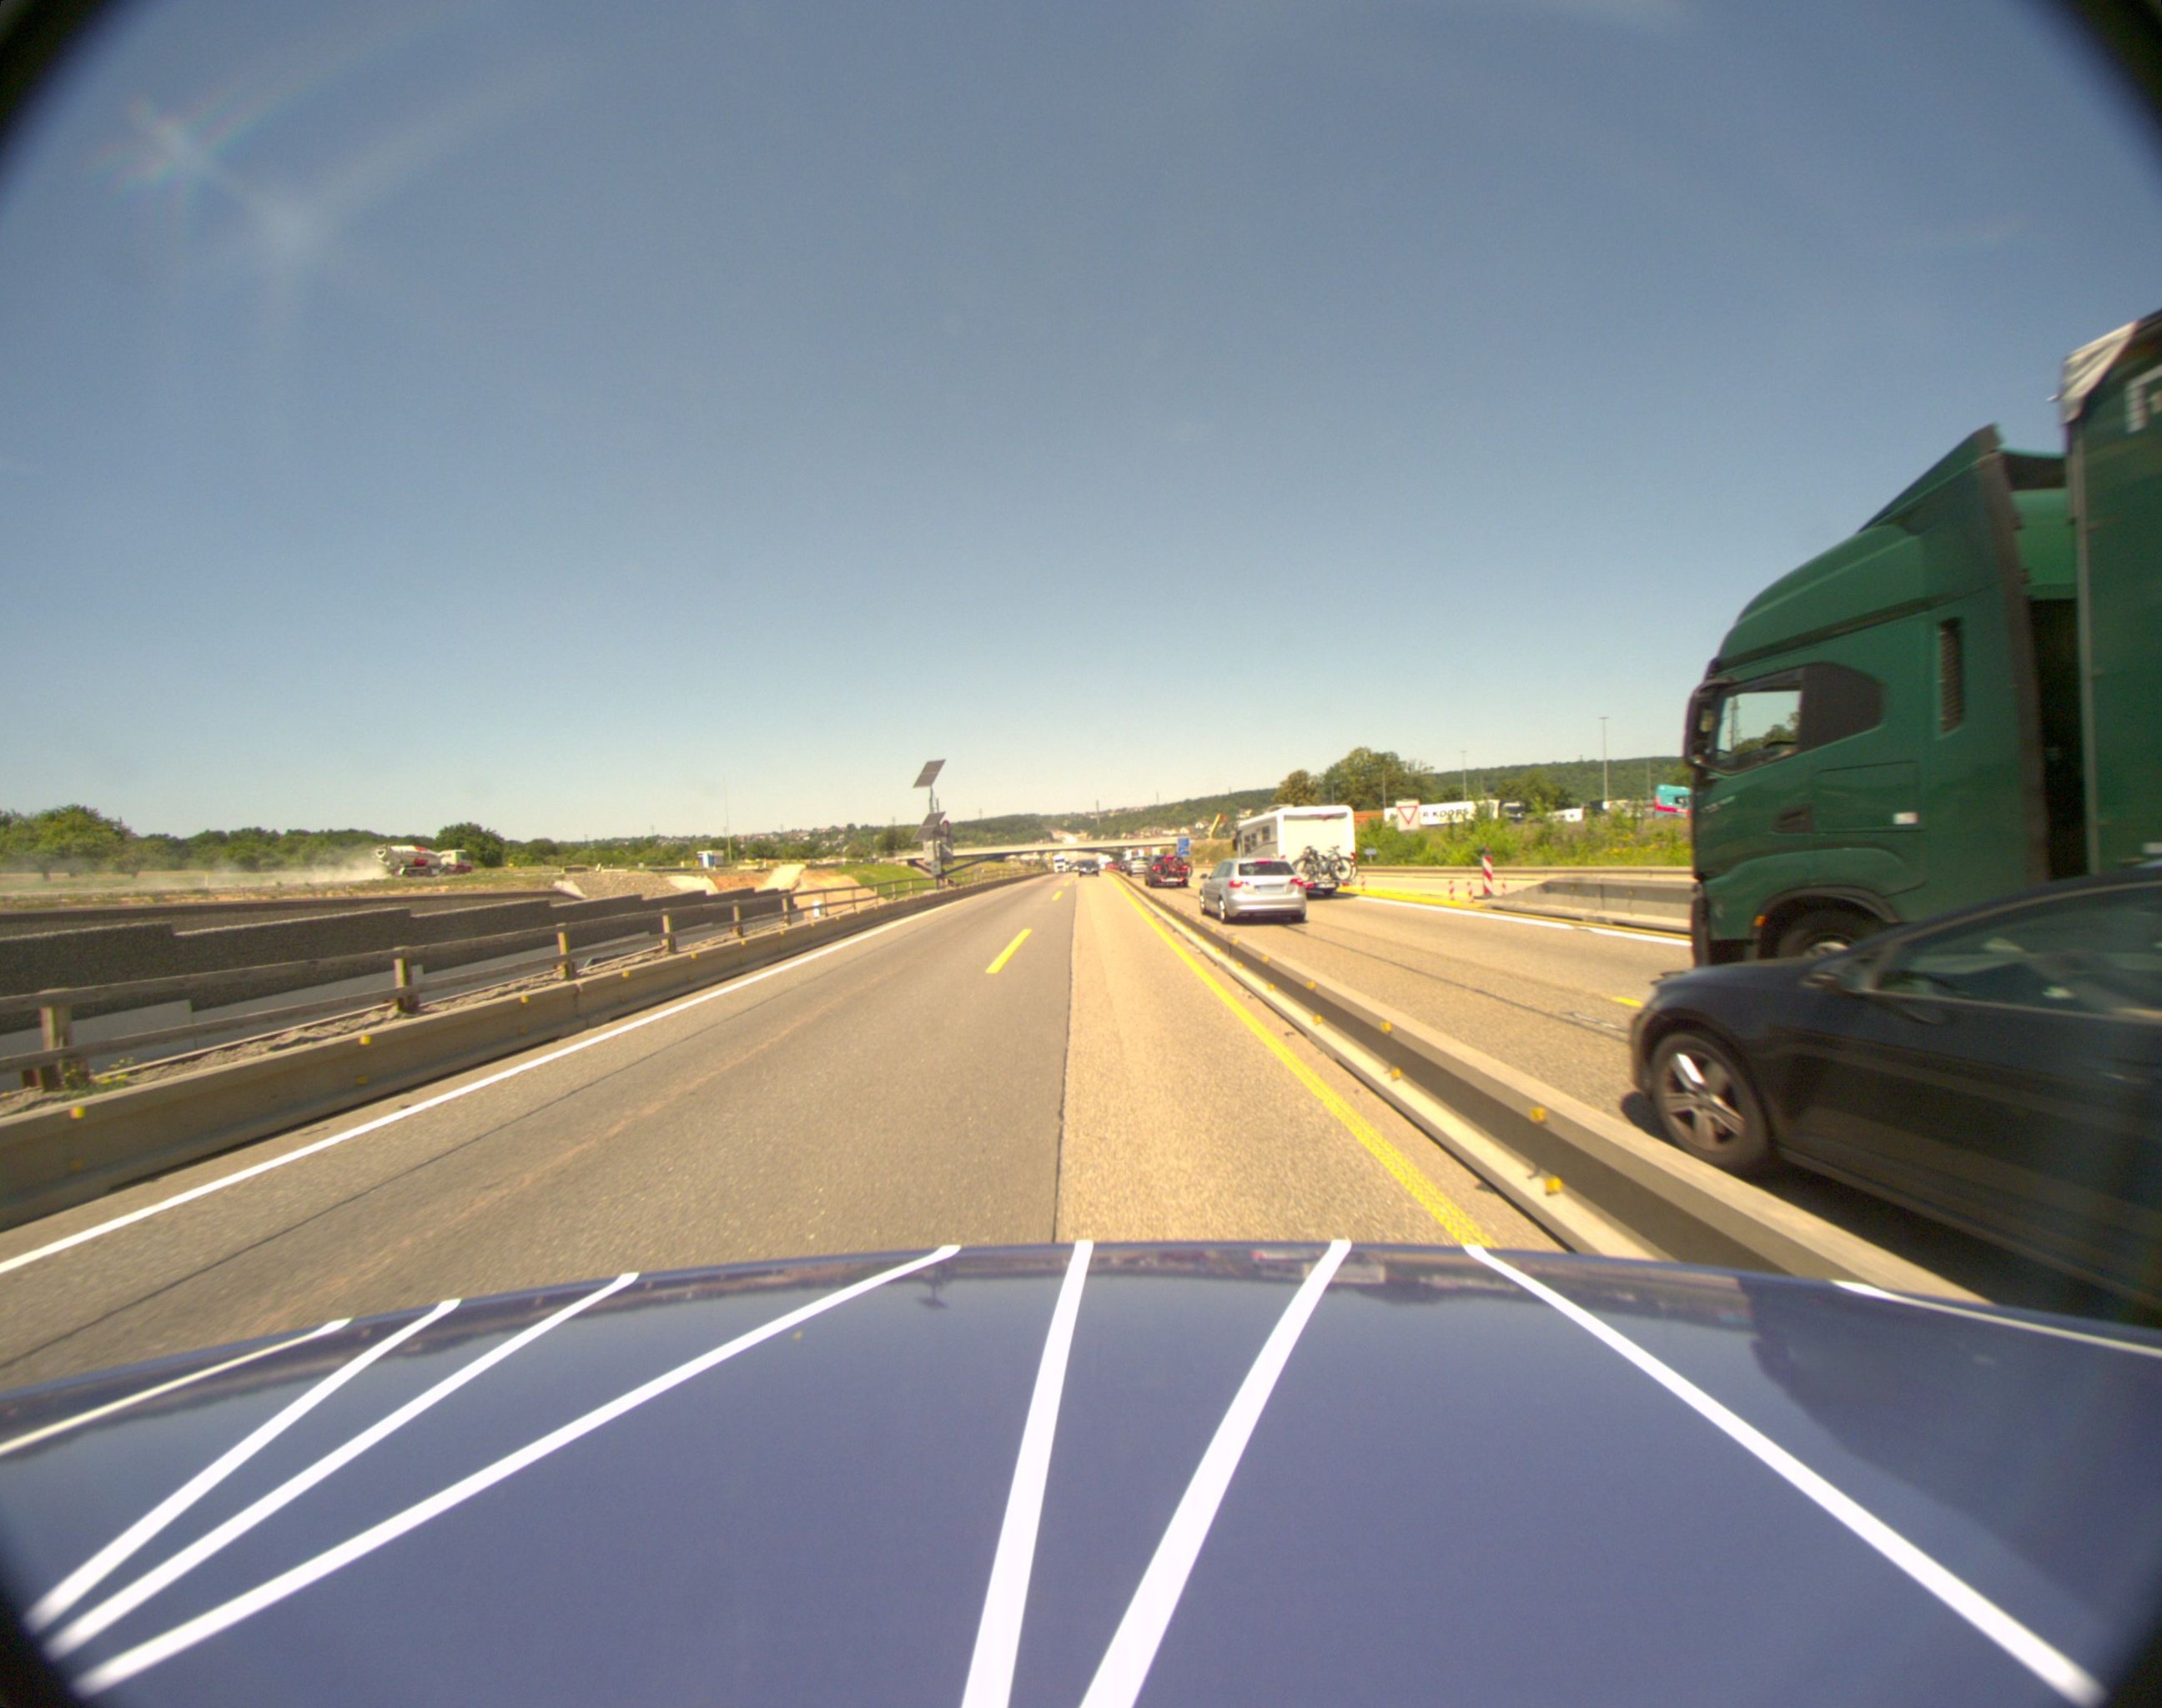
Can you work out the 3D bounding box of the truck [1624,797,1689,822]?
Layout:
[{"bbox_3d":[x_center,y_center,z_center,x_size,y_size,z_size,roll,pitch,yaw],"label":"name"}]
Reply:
[{"bbox_3d":[74.683,-5.745,98.808,2.548,2.589,7.778,-4,0,1],"label":"truck"}]

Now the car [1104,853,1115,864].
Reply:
[{"bbox_3d":[4.598,0.758,123.194,1.723,1.582,3.797,-4,0,1],"label":"car"}]

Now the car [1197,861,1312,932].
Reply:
[{"bbox_3d":[3.772,0.868,17.195,1.714,1.344,3.889,-1,0,0],"label":"car"}]

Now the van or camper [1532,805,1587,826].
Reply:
[{"bbox_3d":[74.329,-5.960,118.300,2.761,2.718,8.594,-2,0,-4],"label":"van or camper"}]

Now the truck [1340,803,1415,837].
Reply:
[{"bbox_3d":[45.662,-5.162,117.359,9.869,4.195,3.590,-5,1,43],"label":"truck"}]

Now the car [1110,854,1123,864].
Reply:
[{"bbox_3d":[4.830,0.638,104.216,1.651,1.359,3.945,-1,0,0],"label":"car"}]

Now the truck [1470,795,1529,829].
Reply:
[{"bbox_3d":[51.419,-5.138,93.423,5.723,3.597,2.584,-5,1,41],"label":"truck"}]

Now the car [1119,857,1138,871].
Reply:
[{"bbox_3d":[4.942,1.025,79.155,1.651,1.359,3.945,-1,0,0],"label":"car"}]

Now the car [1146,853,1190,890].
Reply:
[{"bbox_3d":[4.040,0.780,35.970,1.651,1.592,4.490,-2,0,2],"label":"car"}]

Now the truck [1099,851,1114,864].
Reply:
[{"bbox_3d":[6.252,0.914,184.316,3.397,2.939,6.085,-4,0,2],"label":"truck"}]

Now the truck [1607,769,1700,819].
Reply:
[{"bbox_3d":[51.294,-5.321,68.203,6.131,3.728,2.838,-5,1,45],"label":"truck"}]

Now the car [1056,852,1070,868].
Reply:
[{"bbox_3d":[-3.714,1.268,161.301,2.544,3.127,7.547,-4,0,1],"label":"car"}]

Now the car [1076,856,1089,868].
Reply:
[{"bbox_3d":[0.267,1.129,109.959,1.847,1.572,4.000,-2,0,1],"label":"car"}]

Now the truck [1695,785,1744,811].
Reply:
[{"bbox_3d":[94.952,-8.267,113.093,2.902,3.338,4.906,-4,0,-2],"label":"truck"}]

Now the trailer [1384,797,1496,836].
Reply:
[{"bbox_3d":[46.239,-4.779,98.333,12.721,3.763,2.625,-5,1,44],"label":"trailer"}]

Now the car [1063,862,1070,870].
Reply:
[{"bbox_3d":[-3.744,3.207,199.863,1.739,2.002,3.876,-3,0,0],"label":"car"}]

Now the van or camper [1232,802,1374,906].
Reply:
[{"bbox_3d":[7.125,-0.023,25.649,2.443,2.900,7.823,-2,0,0],"label":"van or camper"}]

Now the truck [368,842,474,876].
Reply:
[{"bbox_3d":[-74.454,0.445,86.032,3.153,3.445,8.763,-3,0,12],"label":"truck"}]

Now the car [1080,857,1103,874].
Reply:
[{"bbox_3d":[0.865,0.914,62.841,1.810,1.299,4.000,-2,0,1],"label":"car"}]

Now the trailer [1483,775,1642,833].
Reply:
[{"bbox_3d":[46.140,-4.686,73.320,12.347,4.142,2.865,-5,1,45],"label":"trailer"}]

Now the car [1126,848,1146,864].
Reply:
[{"bbox_3d":[7.901,0.227,109.887,2.416,2.106,5.314,-4,0,0],"label":"car"}]

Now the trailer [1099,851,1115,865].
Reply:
[{"bbox_3d":[5.975,0.971,176.373,3.397,2.939,9.784,-4,0,2],"label":"trailer"}]

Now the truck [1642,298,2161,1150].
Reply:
[{"bbox_3d":[6.830,-0.668,3.986,3.014,4.179,6.282,-2,0,0],"label":"truck"}]

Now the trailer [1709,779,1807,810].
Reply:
[{"bbox_3d":[95.160,-8.241,107.177,2.952,3.360,11.703,-3,1,-2],"label":"trailer"}]

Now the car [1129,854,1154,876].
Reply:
[{"bbox_3d":[4.544,0.828,57.149,1.651,1.563,3.945,-1,0,2],"label":"car"}]

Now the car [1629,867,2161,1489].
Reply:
[{"bbox_3d":[3.575,0.835,1.598,1.771,1.465,4.227,-2,0,0],"label":"car"}]
